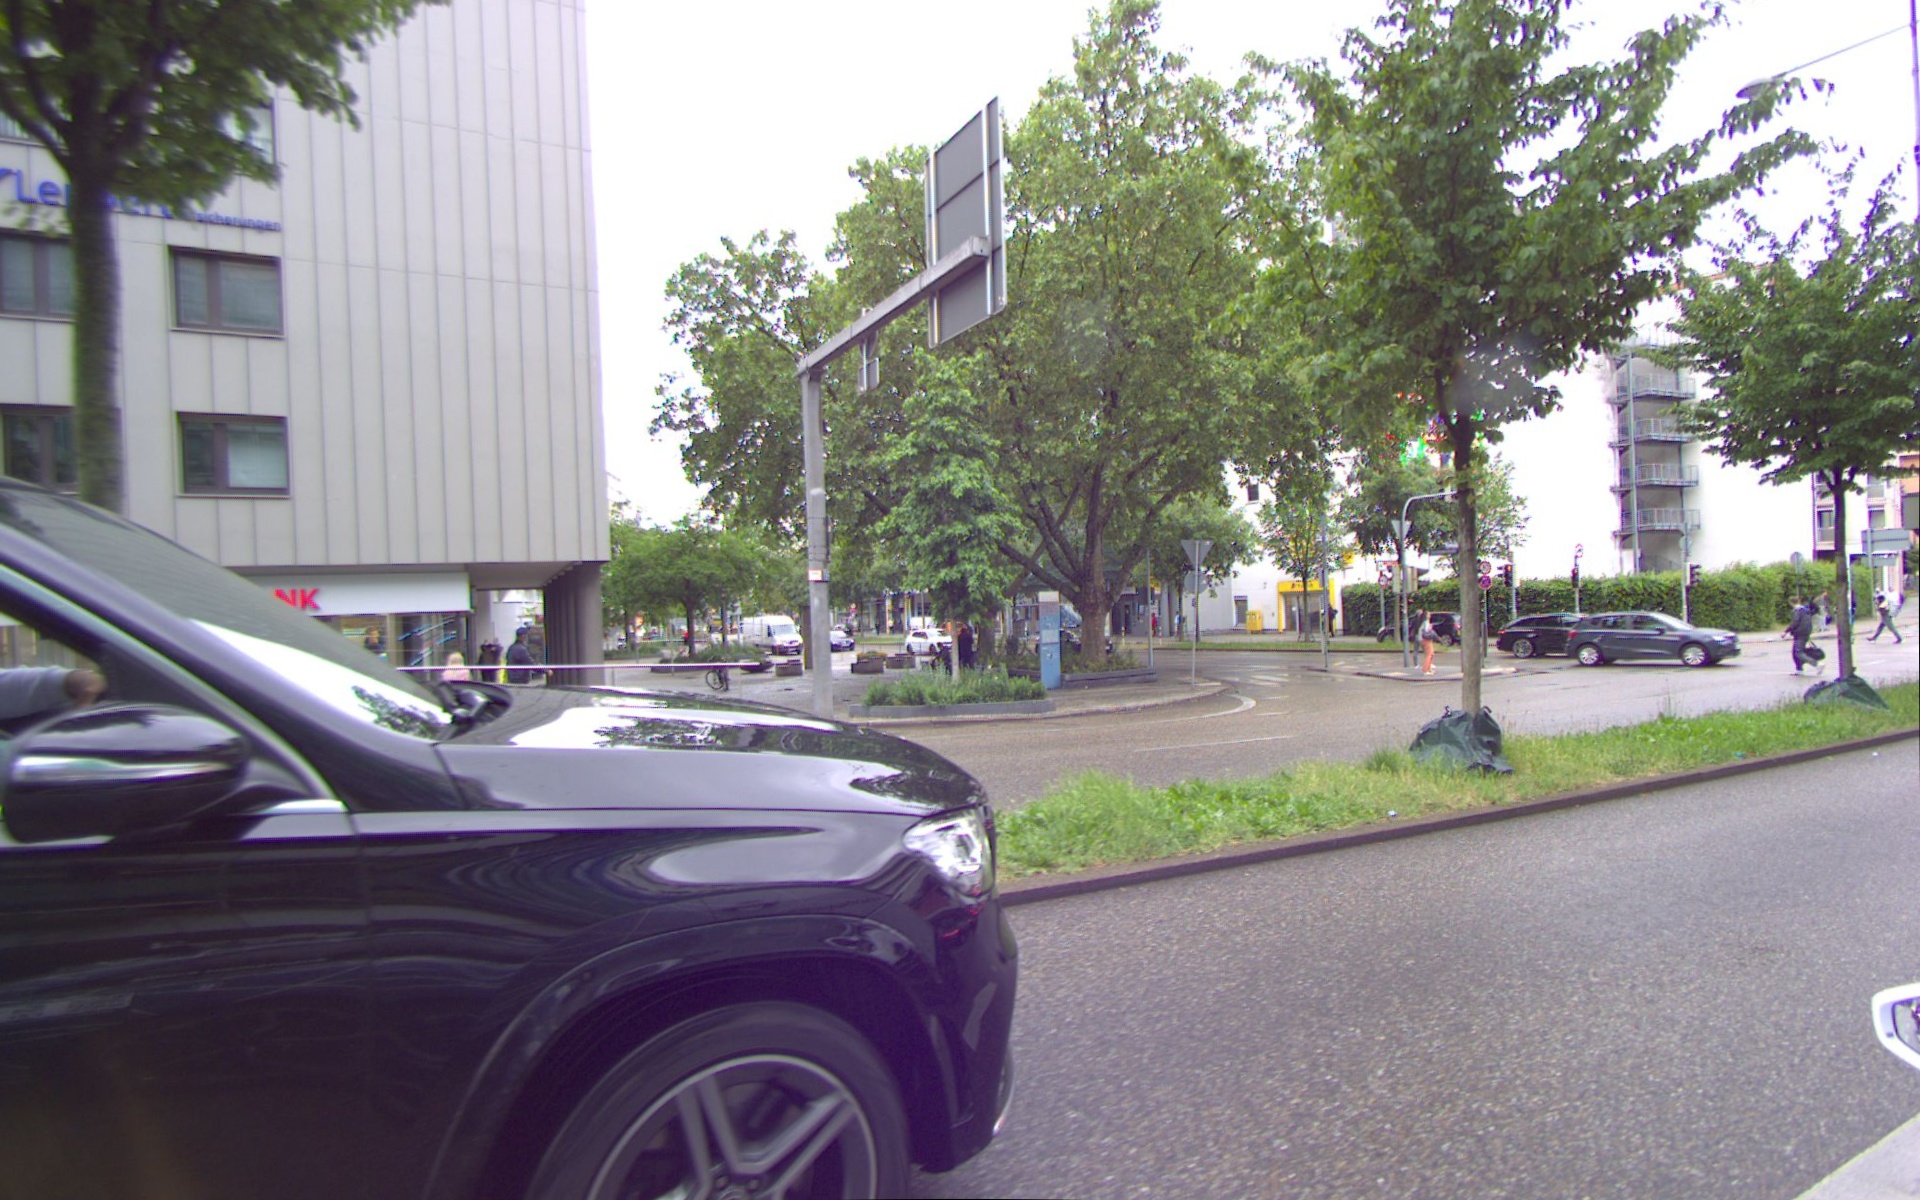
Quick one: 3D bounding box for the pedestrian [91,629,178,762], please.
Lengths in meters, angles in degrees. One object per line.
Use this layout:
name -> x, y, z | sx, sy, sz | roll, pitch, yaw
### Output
pedestrian -> -11.586, 1.333, 14.125 | 0.739, 1.807, 0.550 | 2, 0, -18

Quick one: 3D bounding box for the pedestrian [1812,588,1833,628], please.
pedestrian -> 38.339, 0.349, 44.654 | 0.559, 1.771, 0.535 | 2, 0, -35

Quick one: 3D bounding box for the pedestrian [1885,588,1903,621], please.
pedestrian -> 49.593, 0.249, 53.326 | 0.651, 1.751, 0.591 | 2, 0, -38

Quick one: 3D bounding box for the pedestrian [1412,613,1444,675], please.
pedestrian -> 12.947, 1.205, 27.795 | 0.572, 1.684, 0.554 | -2, 0, -30

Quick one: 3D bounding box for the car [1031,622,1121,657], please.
car -> 5.394, 1.824, 46.995 | 1.691, 1.586, 4.192 | 0, -2, -40

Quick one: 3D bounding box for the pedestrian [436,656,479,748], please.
pedestrian -> -9.790, 1.972, 19.562 | 0.701, 1.702, 0.745 | 2, 0, -28

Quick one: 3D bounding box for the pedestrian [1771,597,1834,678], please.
pedestrian -> 19.237, 0.847, 22.943 | 0.702, 1.807, 0.917 | 2, 0, -35

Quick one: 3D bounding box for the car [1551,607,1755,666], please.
car -> 19.602, 1.076, 28.565 | 1.779, 1.474, 4.452 | -2, -2, -42

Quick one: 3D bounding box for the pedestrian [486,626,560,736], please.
pedestrian -> -7.053, 1.285, 16.212 | 0.954, 1.702, 0.703 | 2, 0, -33

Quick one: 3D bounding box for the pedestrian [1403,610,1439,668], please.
pedestrian -> 13.838, 1.159, 30.160 | 0.620, 1.684, 0.749 | -2, 0, -30

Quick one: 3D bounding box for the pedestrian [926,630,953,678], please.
pedestrian -> -0.762, 1.995, 37.180 | 0.780, 1.719, 0.721 | 1, -2, -27

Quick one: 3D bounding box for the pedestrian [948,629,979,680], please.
pedestrian -> 0.108, 1.848, 34.076 | 0.719, 1.719, 0.782 | 2, -3, -36

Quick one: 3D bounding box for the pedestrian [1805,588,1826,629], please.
pedestrian -> 37.173, 0.376, 43.665 | 0.741, 1.771, 0.535 | 2, 0, -39

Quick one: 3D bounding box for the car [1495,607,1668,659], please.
car -> 20.209, 1.110, 32.817 | 1.779, 1.474, 4.452 | -2, -2, -42

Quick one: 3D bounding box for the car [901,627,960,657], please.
car -> -1.733, 2.348, 57.203 | 1.618, 1.506, 4.274 | 0, 1, -29

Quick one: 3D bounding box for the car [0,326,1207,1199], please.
car -> -2.120, 0.591, 1.759 | 5.013, 1.895, 1.902 | 2, -1, -30

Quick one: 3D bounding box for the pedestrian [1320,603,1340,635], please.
pedestrian -> 19.769, 1.011, 53.628 | 0.633, 1.664, 0.726 | 2, 0, -37

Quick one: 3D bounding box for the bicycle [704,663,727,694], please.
bicycle -> -8.377, 2.681, 34.412 | 0.512, 0.918, 2.064 | 2, -1, -20

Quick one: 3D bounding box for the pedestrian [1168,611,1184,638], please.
pedestrian -> 13.360, 1.520, 62.060 | 0.630, 1.664, 0.729 | 2, 0, -25

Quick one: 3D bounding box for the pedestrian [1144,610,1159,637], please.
pedestrian -> 12.312, 1.511, 64.559 | 0.723, 1.664, 0.635 | 2, 0, -24

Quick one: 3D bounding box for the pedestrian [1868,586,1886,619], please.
pedestrian -> 48.879, 0.145, 53.530 | 0.651, 1.751, 0.591 | 2, 0, -38

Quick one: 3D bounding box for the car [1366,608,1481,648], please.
car -> 19.603, 1.196, 42.573 | 1.779, 1.474, 4.016 | -2, -2, -42

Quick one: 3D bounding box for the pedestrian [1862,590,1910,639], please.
pedestrian -> 31.531, 0.486, 34.193 | 0.677, 1.599, 1.055 | 2, 0, -34
